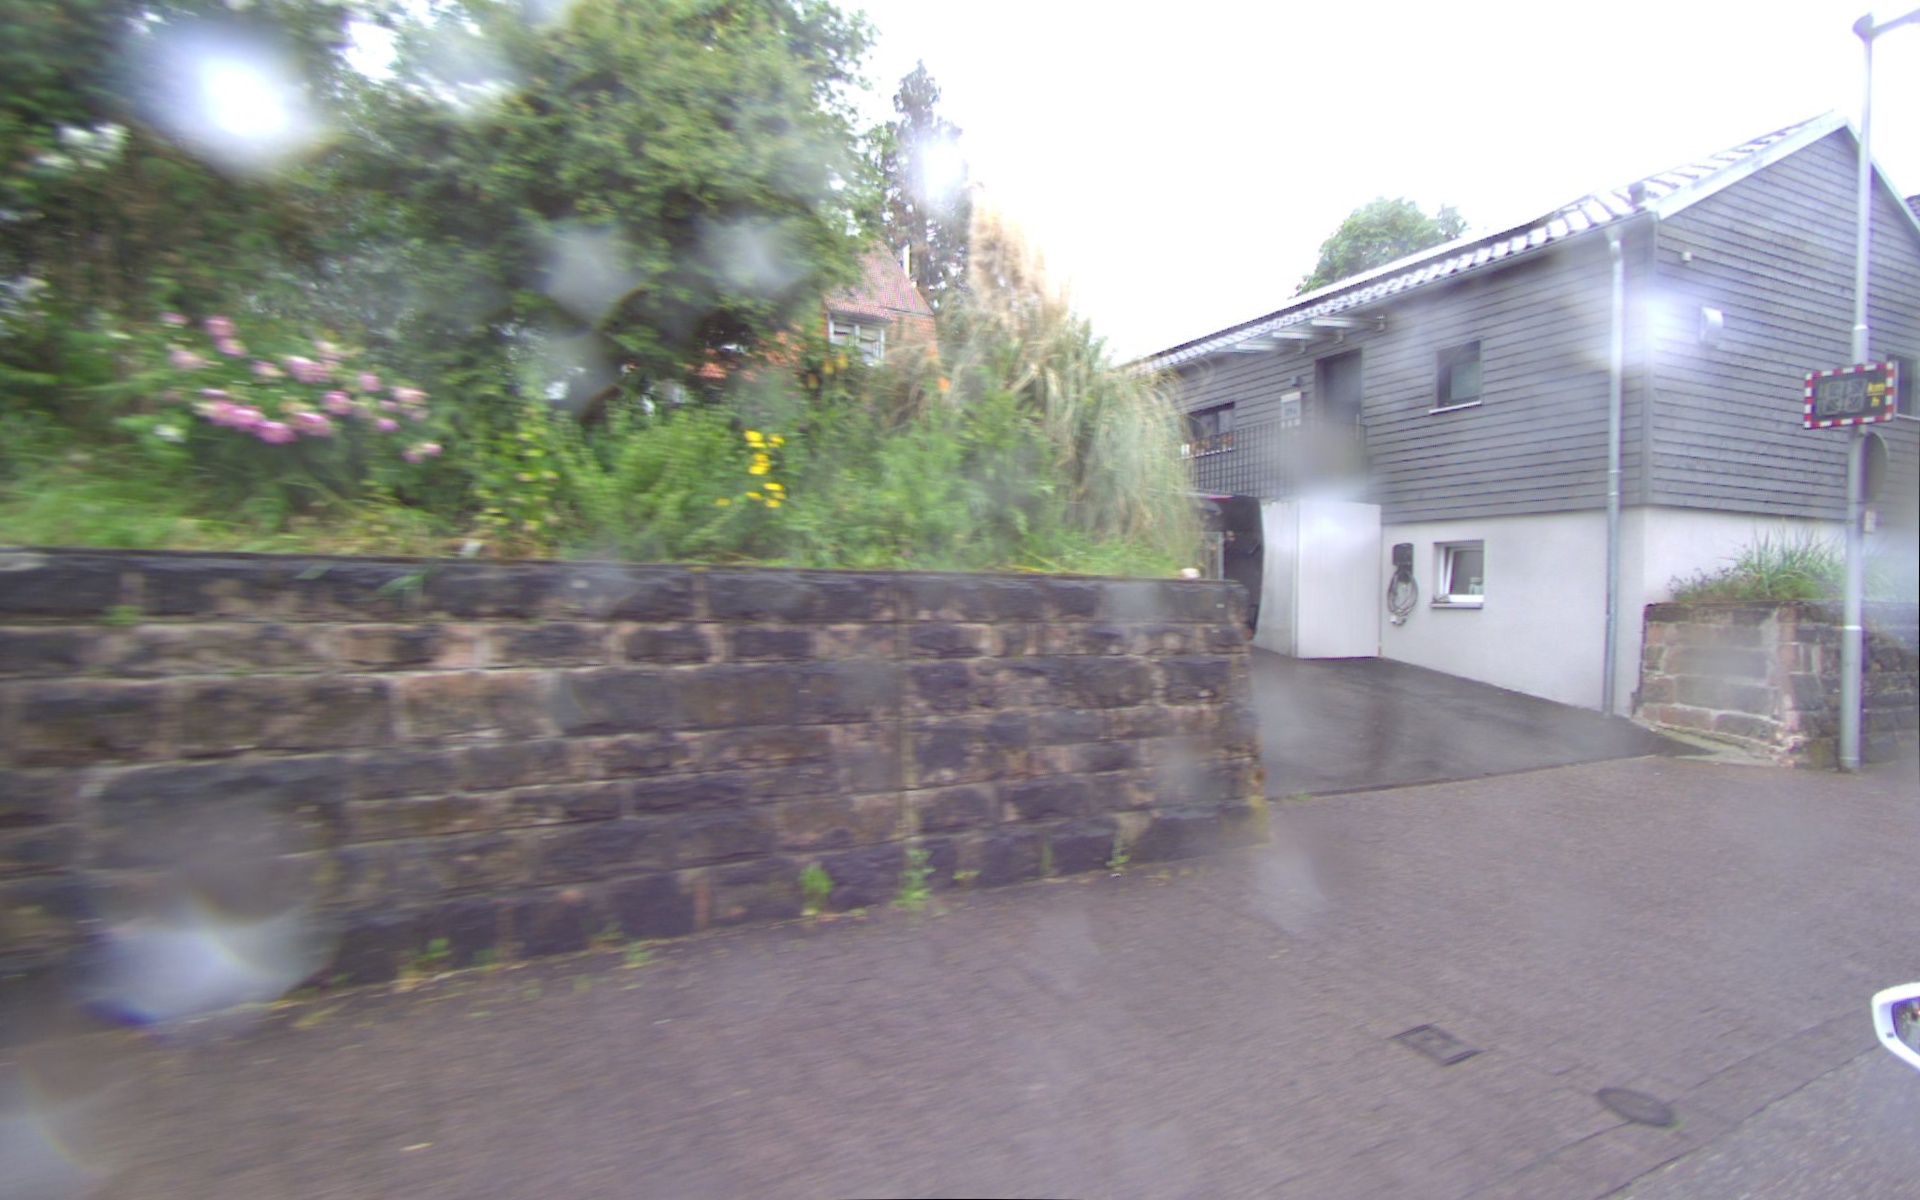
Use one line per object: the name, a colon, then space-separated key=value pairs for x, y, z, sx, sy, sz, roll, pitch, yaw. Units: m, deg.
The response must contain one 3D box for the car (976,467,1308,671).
car: x=2.082 y=-0.519 z=12.764 sx=1.975 sy=1.992 sz=3.970 roll=1 pitch=8 yaw=-28
